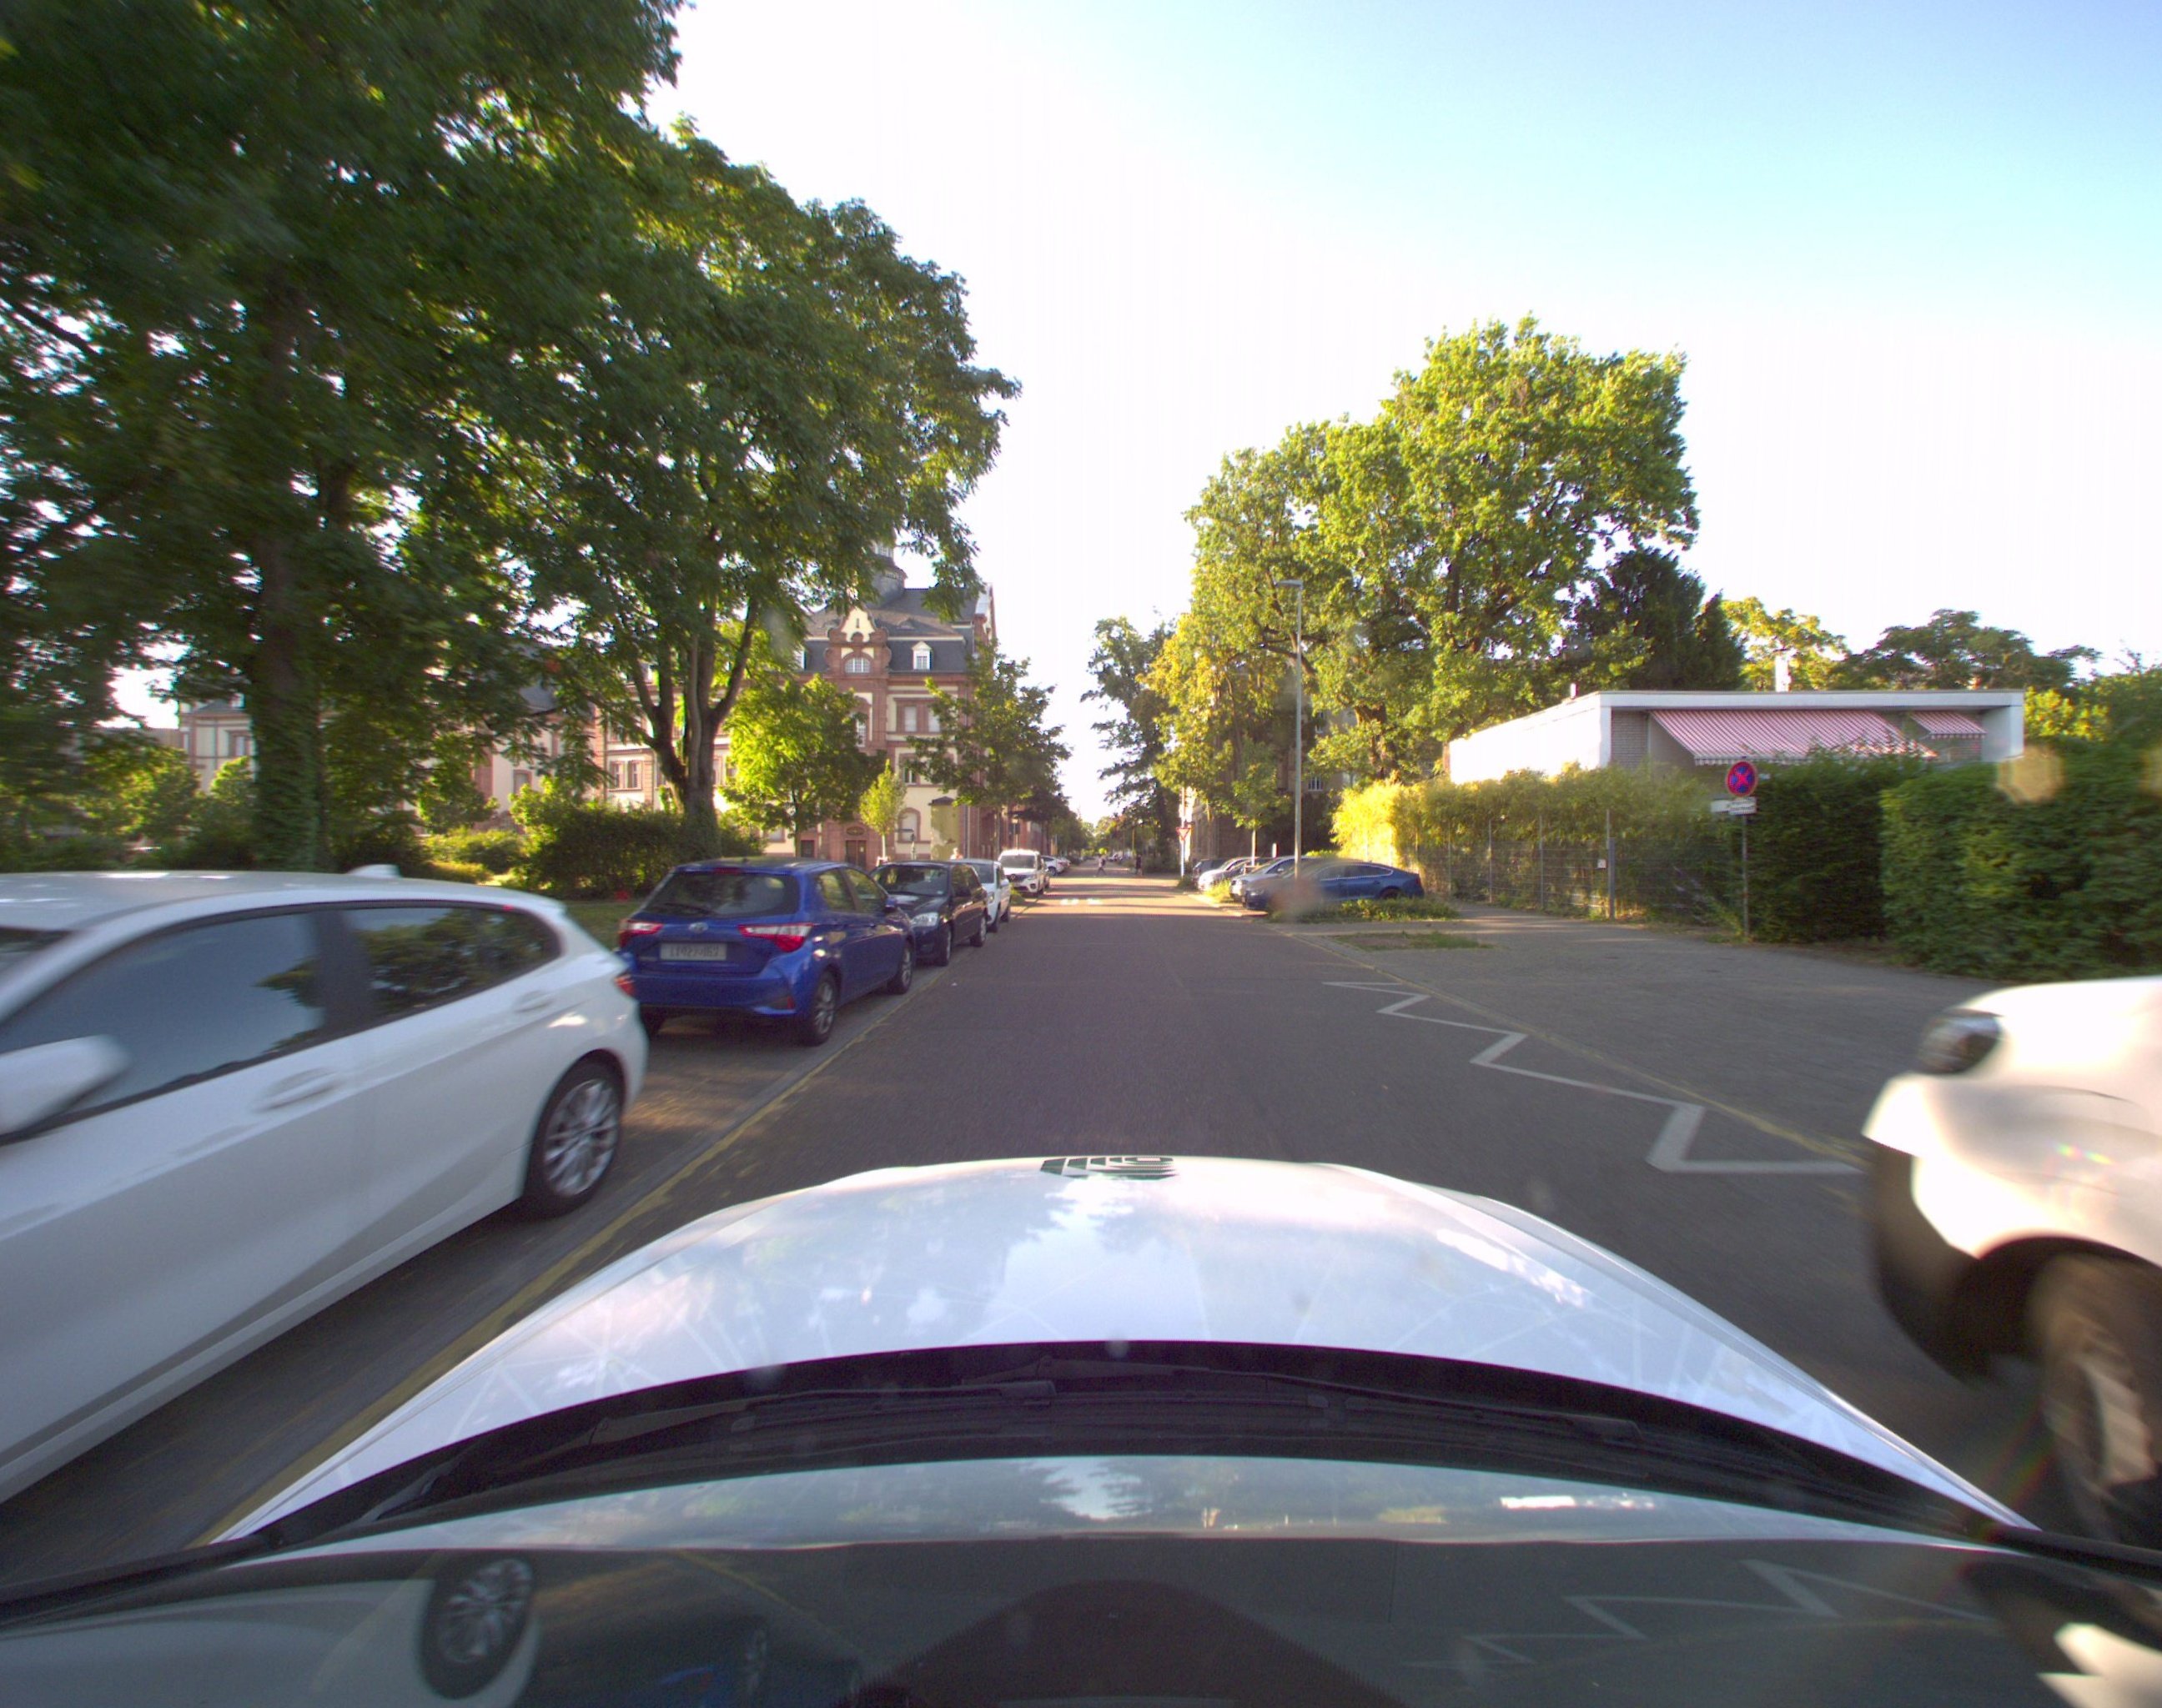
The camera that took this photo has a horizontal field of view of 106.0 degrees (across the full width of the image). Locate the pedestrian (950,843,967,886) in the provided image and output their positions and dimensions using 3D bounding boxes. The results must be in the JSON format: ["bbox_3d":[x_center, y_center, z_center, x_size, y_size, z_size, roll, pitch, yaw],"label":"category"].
[{"bbox_3d":[-5.204,0.449,34.580,0.597,1.784,0.945,0,0,-2],"label":"pedestrian"}]

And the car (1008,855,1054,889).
[{"bbox_3d":[-2.343,0.828,39.138,1.774,1.505,4.554,0,0,1],"label":"car"}]

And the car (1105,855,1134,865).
[{"bbox_3d":[6.346,1.065,134.413,4.570,1.608,1.841,0,0,-2],"label":"car"}]

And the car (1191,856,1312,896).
[{"bbox_3d":[6.761,0.868,32.601,4.479,1.549,1.890,0,0,-2],"label":"car"}]

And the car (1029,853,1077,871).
[{"bbox_3d":[-2.645,0.764,77.564,4.470,1.608,1.841,0,0,-2],"label":"car"}]

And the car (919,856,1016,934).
[{"bbox_3d":[-2.395,0.824,18.075,1.587,1.526,3.865,0,0,0],"label":"car"}]

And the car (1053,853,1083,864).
[{"bbox_3d":[-2.012,0.716,126.006,4.470,1.608,1.841,0,0,-2],"label":"car"}]

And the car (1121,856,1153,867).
[{"bbox_3d":[8.082,1.113,117.668,4.470,1.608,1.841,0,0,-2],"label":"car"}]

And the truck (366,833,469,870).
[{"bbox_3d":[-56.068,-0.203,68.793,7.922,3.029,2.623,0,0,16],"label":"truck"}]

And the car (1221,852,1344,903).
[{"bbox_3d":[6.491,0.746,26.430,3.492,1.584,1.757,0,0,-9],"label":"car"}]

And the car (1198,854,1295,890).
[{"bbox_3d":[7.089,0.761,35.154,3.936,1.516,1.676,0,0,4],"label":"car"}]

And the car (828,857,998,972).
[{"bbox_3d":[-2.428,0.799,12.735,1.544,1.494,3.947,0,0,4],"label":"car"}]

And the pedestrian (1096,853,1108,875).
[{"bbox_3d":[1.542,0.735,58.780,0.783,1.606,0.719,0,-2,-5],"label":"pedestrian"}]

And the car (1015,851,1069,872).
[{"bbox_3d":[-3.301,0.614,69.496,4.470,1.717,1.841,0,0,-2],"label":"car"}]

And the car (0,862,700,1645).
[{"bbox_3d":[-2.855,0.774,2.120,1.683,1.406,3.977,2,0,2],"label":"car"}]

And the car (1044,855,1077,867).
[{"bbox_3d":[-2.796,0.889,111.728,4.470,1.608,1.841,0,0,-2],"label":"car"}]

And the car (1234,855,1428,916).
[{"bbox_3d":[6.519,0.824,21.647,4.571,1.415,1.923,-2,-1,2],"label":"car"}]

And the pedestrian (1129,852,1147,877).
[{"bbox_3d":[4.445,0.810,63.501,1.067,1.858,0.992,1,0,-31],"label":"pedestrian"}]

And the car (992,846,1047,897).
[{"bbox_3d":[-2.358,0.641,32.090,1.775,1.841,4.553,0,0,0],"label":"car"}]

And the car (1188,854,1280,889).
[{"bbox_3d":[7.035,0.821,37.726,3.938,1.517,1.874,-1,-2,2],"label":"car"}]

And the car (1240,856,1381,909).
[{"bbox_3d":[6.743,0.812,24.155,3.672,1.524,1.790,0,0,-3],"label":"car"}]

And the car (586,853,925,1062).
[{"bbox_3d":[-2.775,0.767,7.906,1.632,1.496,3.707,2,0,2],"label":"car"}]

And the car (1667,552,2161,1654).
[{"bbox_3d":[2.951,0.457,0.184,1.946,2.013,5.152,0,0,0],"label":"car"}]

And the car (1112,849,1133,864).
[{"bbox_3d":[9.656,0.547,190.820,4.870,3.618,1.842,0,0,0],"label":"car"}]

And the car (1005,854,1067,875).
[{"bbox_3d":[-3.528,0.833,64.888,4.828,1.594,1.841,0,0,-2],"label":"car"}]
